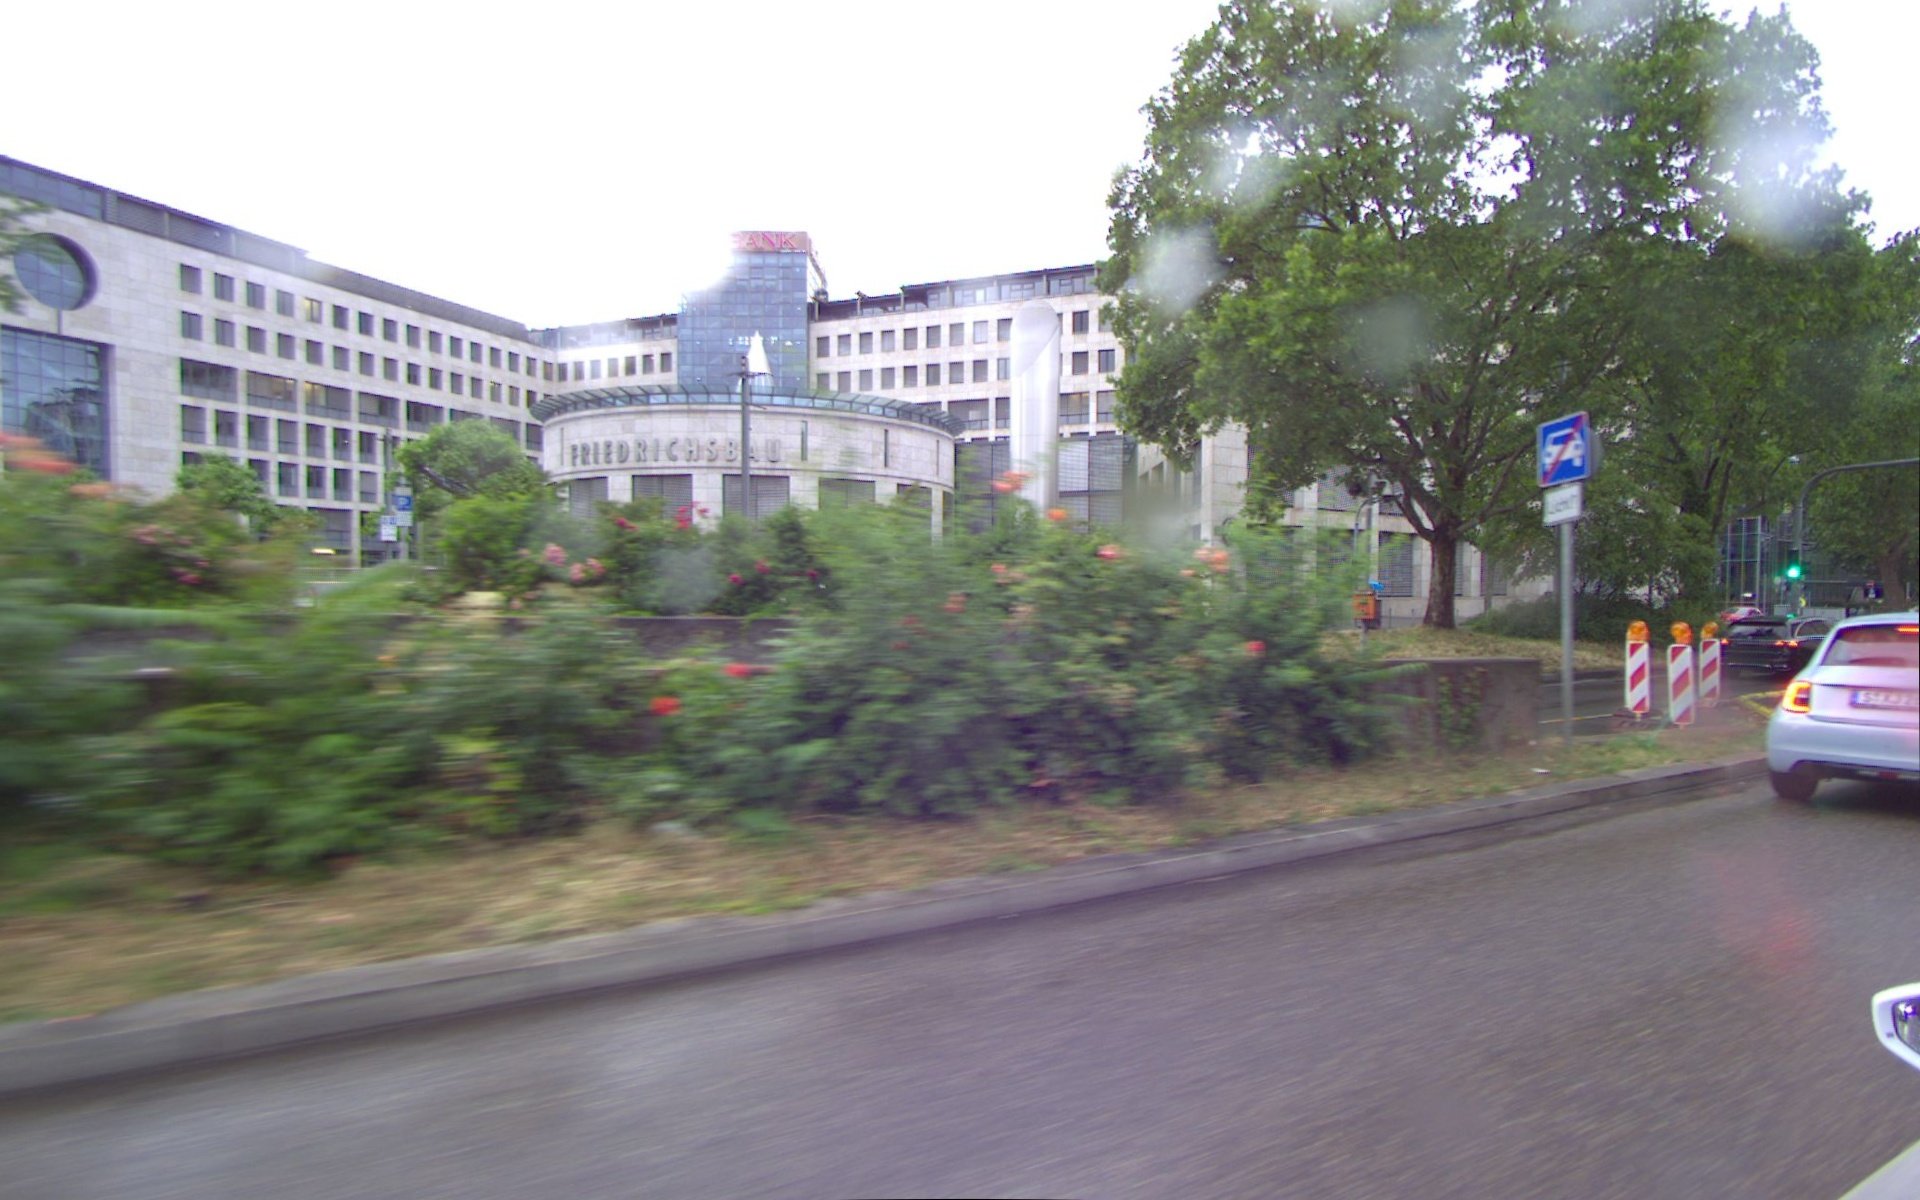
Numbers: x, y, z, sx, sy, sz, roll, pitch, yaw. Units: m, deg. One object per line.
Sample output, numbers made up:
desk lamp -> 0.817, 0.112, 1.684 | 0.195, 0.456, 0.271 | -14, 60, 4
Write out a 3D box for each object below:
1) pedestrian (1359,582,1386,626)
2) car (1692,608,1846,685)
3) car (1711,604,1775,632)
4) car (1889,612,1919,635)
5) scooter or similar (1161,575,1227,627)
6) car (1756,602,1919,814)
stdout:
pedestrian -> 19.892, 0.187, 48.435 | 0.938, 2.041, 0.779 | 0, 3, -37
car -> 19.163, 1.038, 23.756 | 3.957, 1.641, 1.689 | 1, 1, -33
car -> 49.412, 1.138, 63.395 | 4.188, 1.664, 1.681 | 2, 1, -29
car -> 65.817, 1.630, 69.254 | 4.456, 1.530, 1.782 | 1, -1, -36
scooter or similar -> 9.512, 0.025, 41.009 | 0.821, 2.041, 3.066 | 1, 1, -27
car -> 8.175, 0.796, 8.246 | 3.467, 1.511, 1.581 | 1, -1, -33
